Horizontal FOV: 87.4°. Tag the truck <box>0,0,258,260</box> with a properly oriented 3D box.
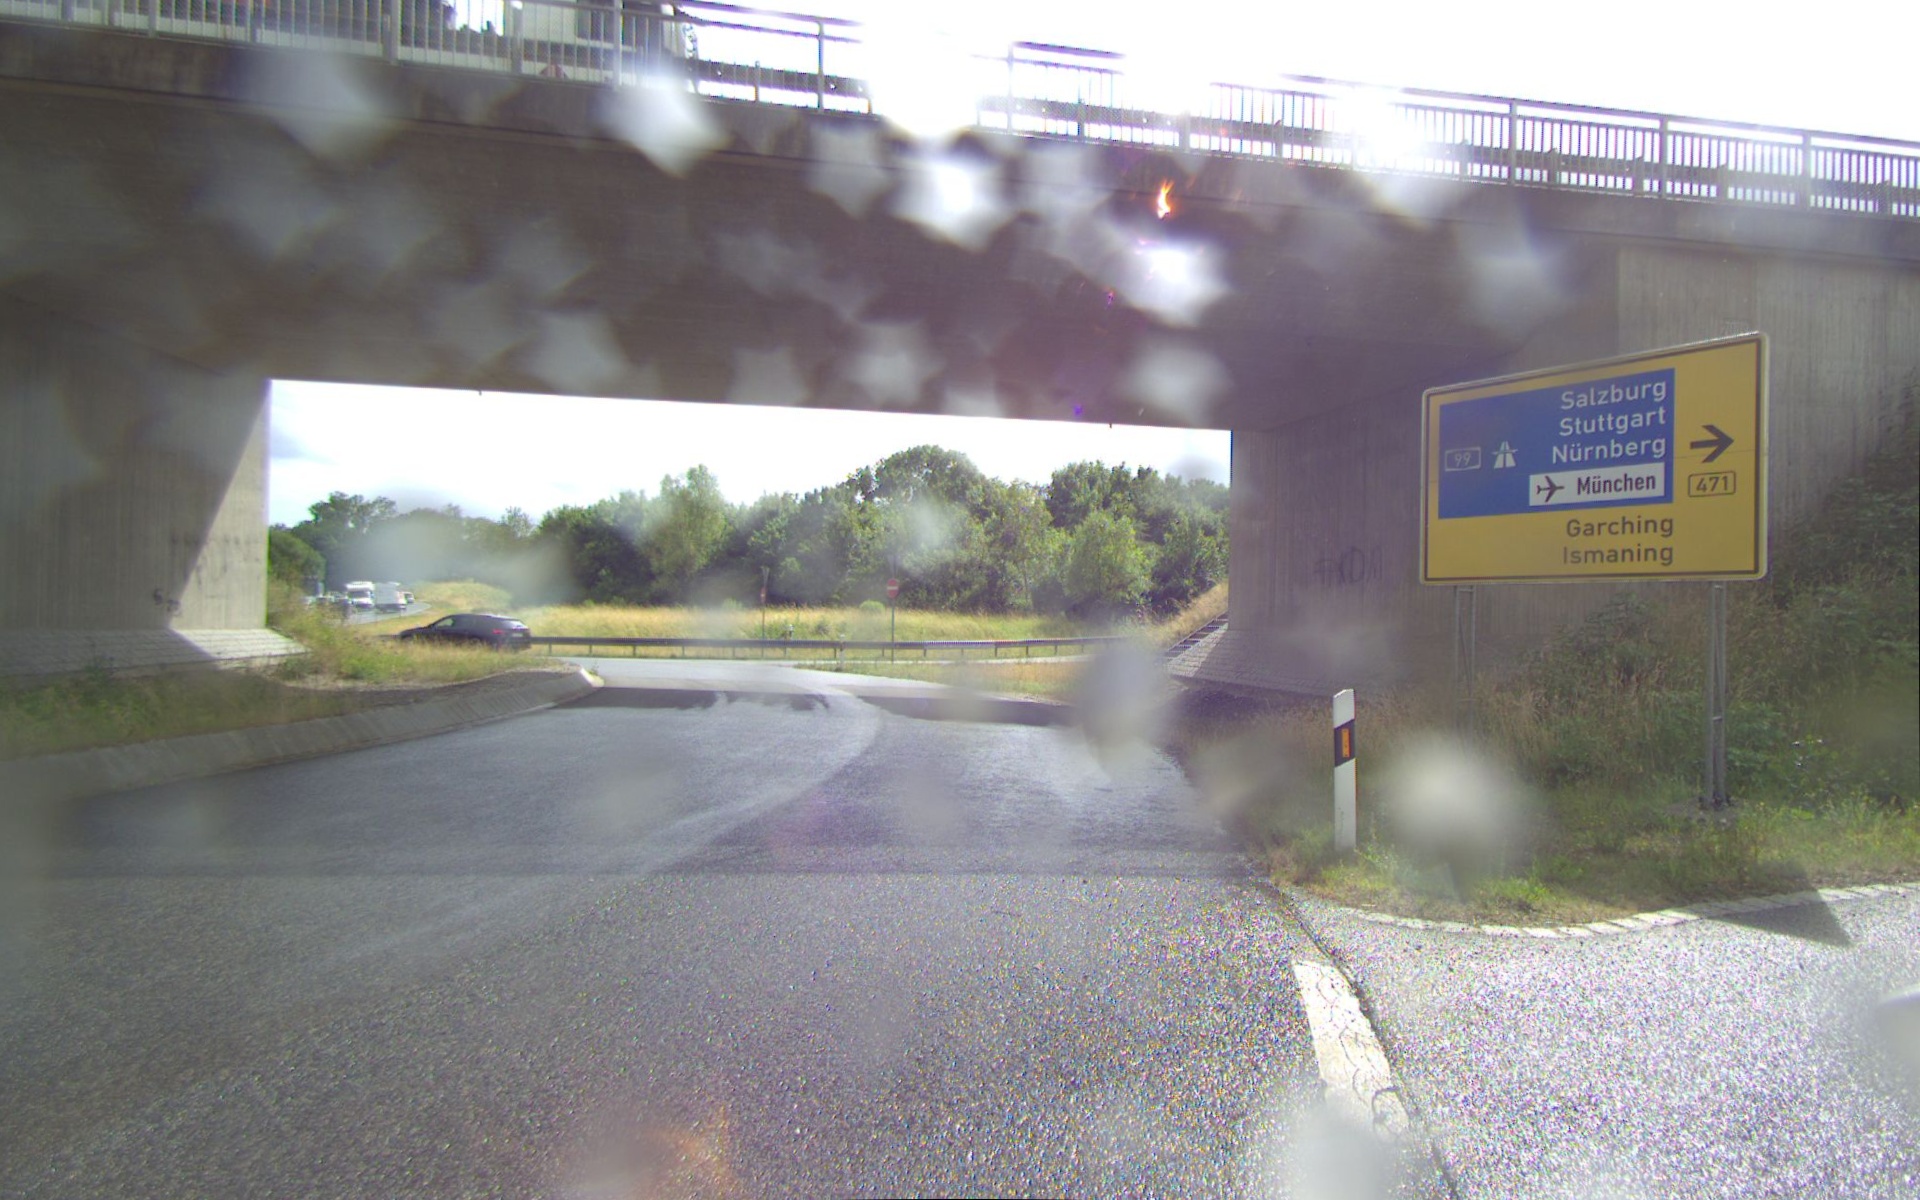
[{"bbox_3d":[-15.014,-6.493,12.058,10.640,2.912,2.201,2,0,-13],"label":"truck"}]
